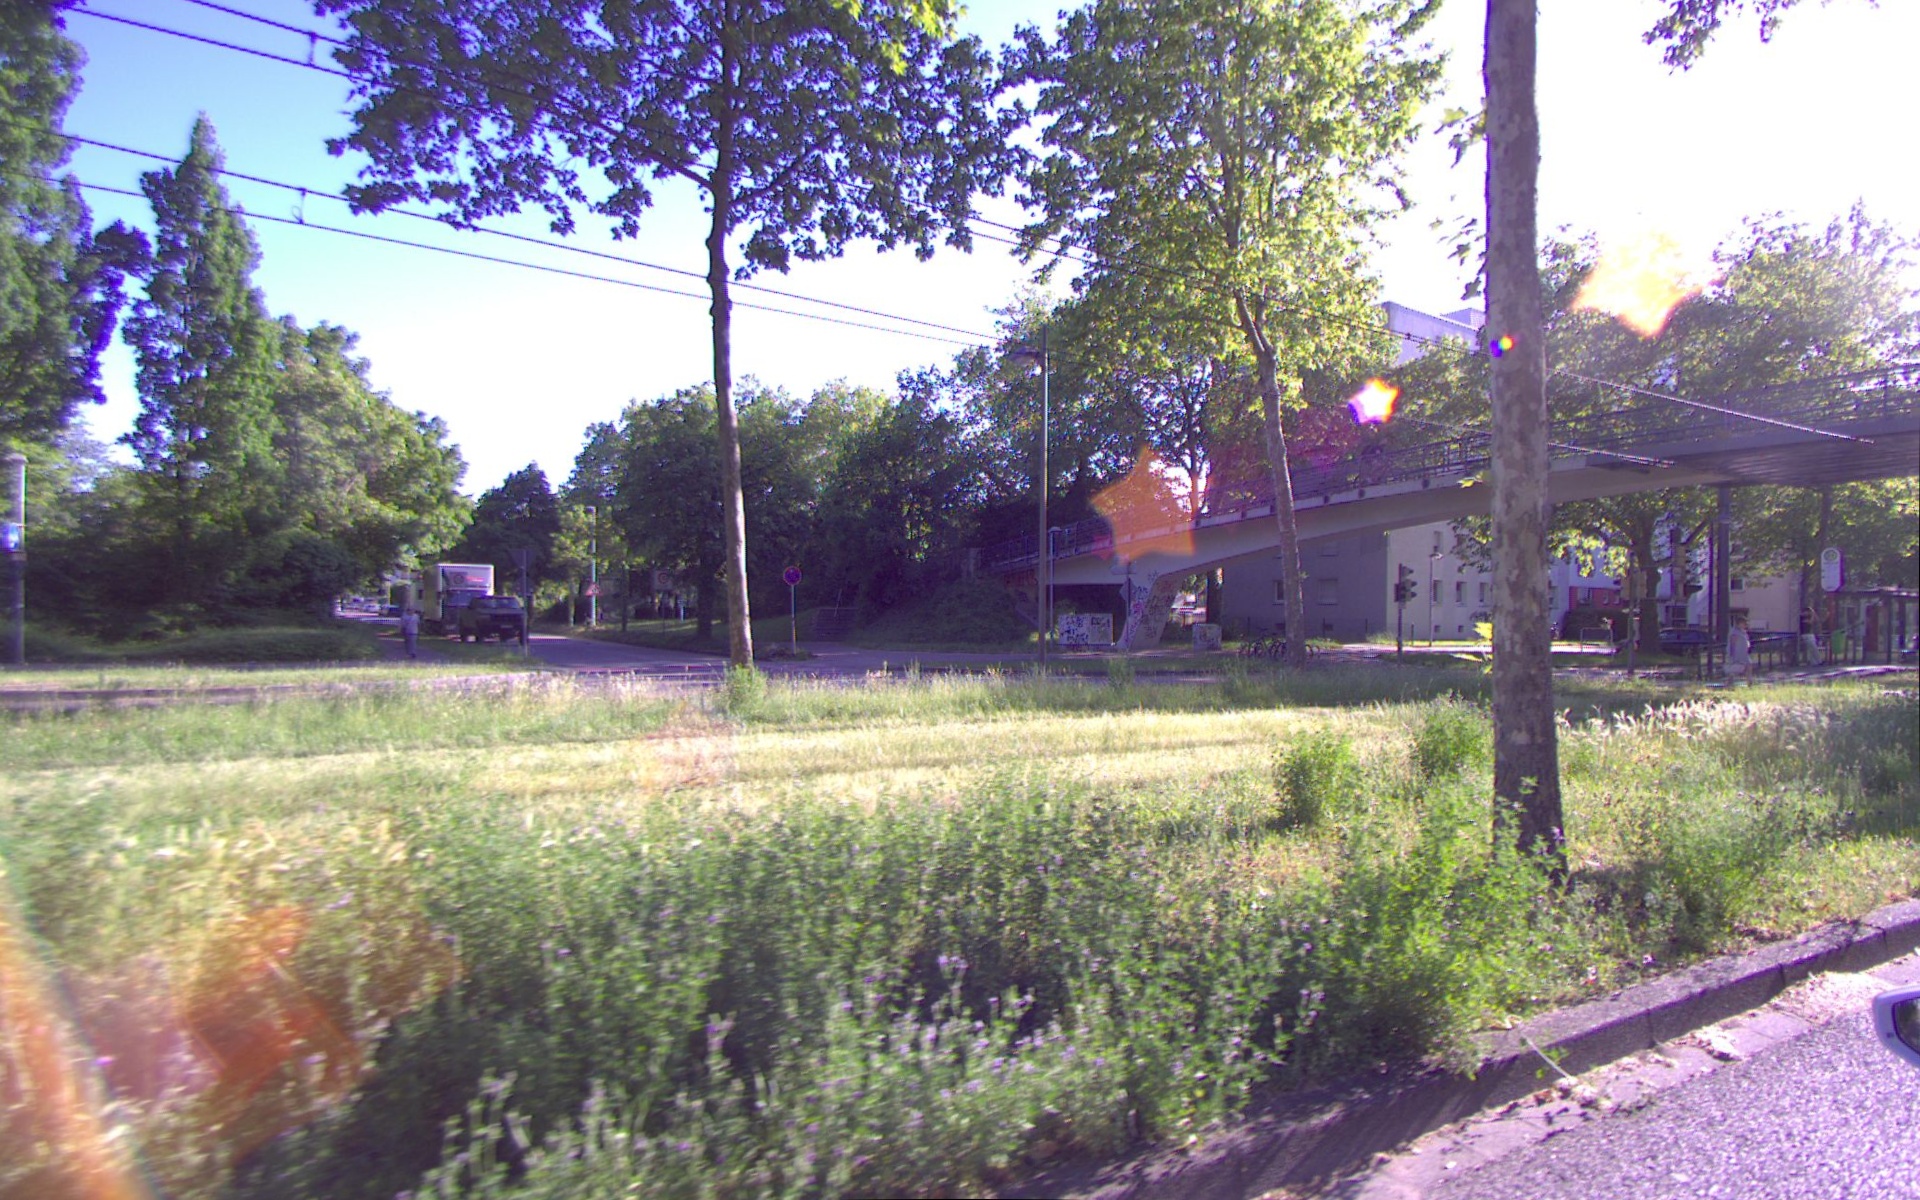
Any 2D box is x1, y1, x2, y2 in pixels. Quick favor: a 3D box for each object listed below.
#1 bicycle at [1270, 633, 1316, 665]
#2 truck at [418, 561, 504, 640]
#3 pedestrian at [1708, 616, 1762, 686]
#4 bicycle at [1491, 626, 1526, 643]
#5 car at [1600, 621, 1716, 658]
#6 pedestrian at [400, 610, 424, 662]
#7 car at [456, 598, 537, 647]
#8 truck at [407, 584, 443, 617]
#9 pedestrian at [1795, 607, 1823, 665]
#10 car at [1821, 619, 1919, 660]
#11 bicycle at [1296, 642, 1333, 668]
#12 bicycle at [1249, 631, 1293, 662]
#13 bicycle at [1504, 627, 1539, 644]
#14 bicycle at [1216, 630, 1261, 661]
[{"bbox_3d":[11.057,1.620,33.331,1.666,1.022,0.432,1,1,-30],"label":"bicycle"},{"bbox_3d":[-26.279,0.065,52.704,2.720,3.800,8.431,2,-1,-35],"label":"truck"},{"bbox_3d":[19.316,1.263,25.046,1.037,1.696,0.721,2,0,-33],"label":"pedestrian"},{"bbox_3d":[33.249,2.094,60.881,2.567,0.940,0.691,0,1,-33],"label":"bicycle"},{"bbox_3d":[32.336,1.813,46.658,4.119,1.447,1.699,2,1,23],"label":"car"},{"bbox_3d":[-16.483,1.081,30.219,0.579,1.511,0.531,2,0,-26],"label":"pedestrian"},{"bbox_3d":[-20.494,0.950,44.242,2.203,1.974,6.093,2,-1,-35],"label":"car"},{"bbox_3d":[-56.661,0.035,106.316,2.499,3.236,6.476,2,0,-35],"label":"truck"},{"bbox_3d":[26.369,1.110,31.203,0.494,1.794,0.484,2,0,20],"label":"pedestrian"},{"bbox_3d":[52.136,2.211,57.067,4.413,2.091,1.899,2,1,23],"label":"car"},{"bbox_3d":[11.209,1.745,31.775,1.160,0.789,0.432,1,1,-30],"label":"bicycle"},{"bbox_3d":[10.785,1.609,34.825,1.666,1.022,0.432,1,1,-30],"label":"bicycle"},{"bbox_3d":[33.643,2.109,60.144,2.567,0.940,0.691,0,1,-33],"label":"bicycle"},{"bbox_3d":[9.620,1.566,34.624,1.666,1.022,0.432,1,1,-30],"label":"bicycle"}]
